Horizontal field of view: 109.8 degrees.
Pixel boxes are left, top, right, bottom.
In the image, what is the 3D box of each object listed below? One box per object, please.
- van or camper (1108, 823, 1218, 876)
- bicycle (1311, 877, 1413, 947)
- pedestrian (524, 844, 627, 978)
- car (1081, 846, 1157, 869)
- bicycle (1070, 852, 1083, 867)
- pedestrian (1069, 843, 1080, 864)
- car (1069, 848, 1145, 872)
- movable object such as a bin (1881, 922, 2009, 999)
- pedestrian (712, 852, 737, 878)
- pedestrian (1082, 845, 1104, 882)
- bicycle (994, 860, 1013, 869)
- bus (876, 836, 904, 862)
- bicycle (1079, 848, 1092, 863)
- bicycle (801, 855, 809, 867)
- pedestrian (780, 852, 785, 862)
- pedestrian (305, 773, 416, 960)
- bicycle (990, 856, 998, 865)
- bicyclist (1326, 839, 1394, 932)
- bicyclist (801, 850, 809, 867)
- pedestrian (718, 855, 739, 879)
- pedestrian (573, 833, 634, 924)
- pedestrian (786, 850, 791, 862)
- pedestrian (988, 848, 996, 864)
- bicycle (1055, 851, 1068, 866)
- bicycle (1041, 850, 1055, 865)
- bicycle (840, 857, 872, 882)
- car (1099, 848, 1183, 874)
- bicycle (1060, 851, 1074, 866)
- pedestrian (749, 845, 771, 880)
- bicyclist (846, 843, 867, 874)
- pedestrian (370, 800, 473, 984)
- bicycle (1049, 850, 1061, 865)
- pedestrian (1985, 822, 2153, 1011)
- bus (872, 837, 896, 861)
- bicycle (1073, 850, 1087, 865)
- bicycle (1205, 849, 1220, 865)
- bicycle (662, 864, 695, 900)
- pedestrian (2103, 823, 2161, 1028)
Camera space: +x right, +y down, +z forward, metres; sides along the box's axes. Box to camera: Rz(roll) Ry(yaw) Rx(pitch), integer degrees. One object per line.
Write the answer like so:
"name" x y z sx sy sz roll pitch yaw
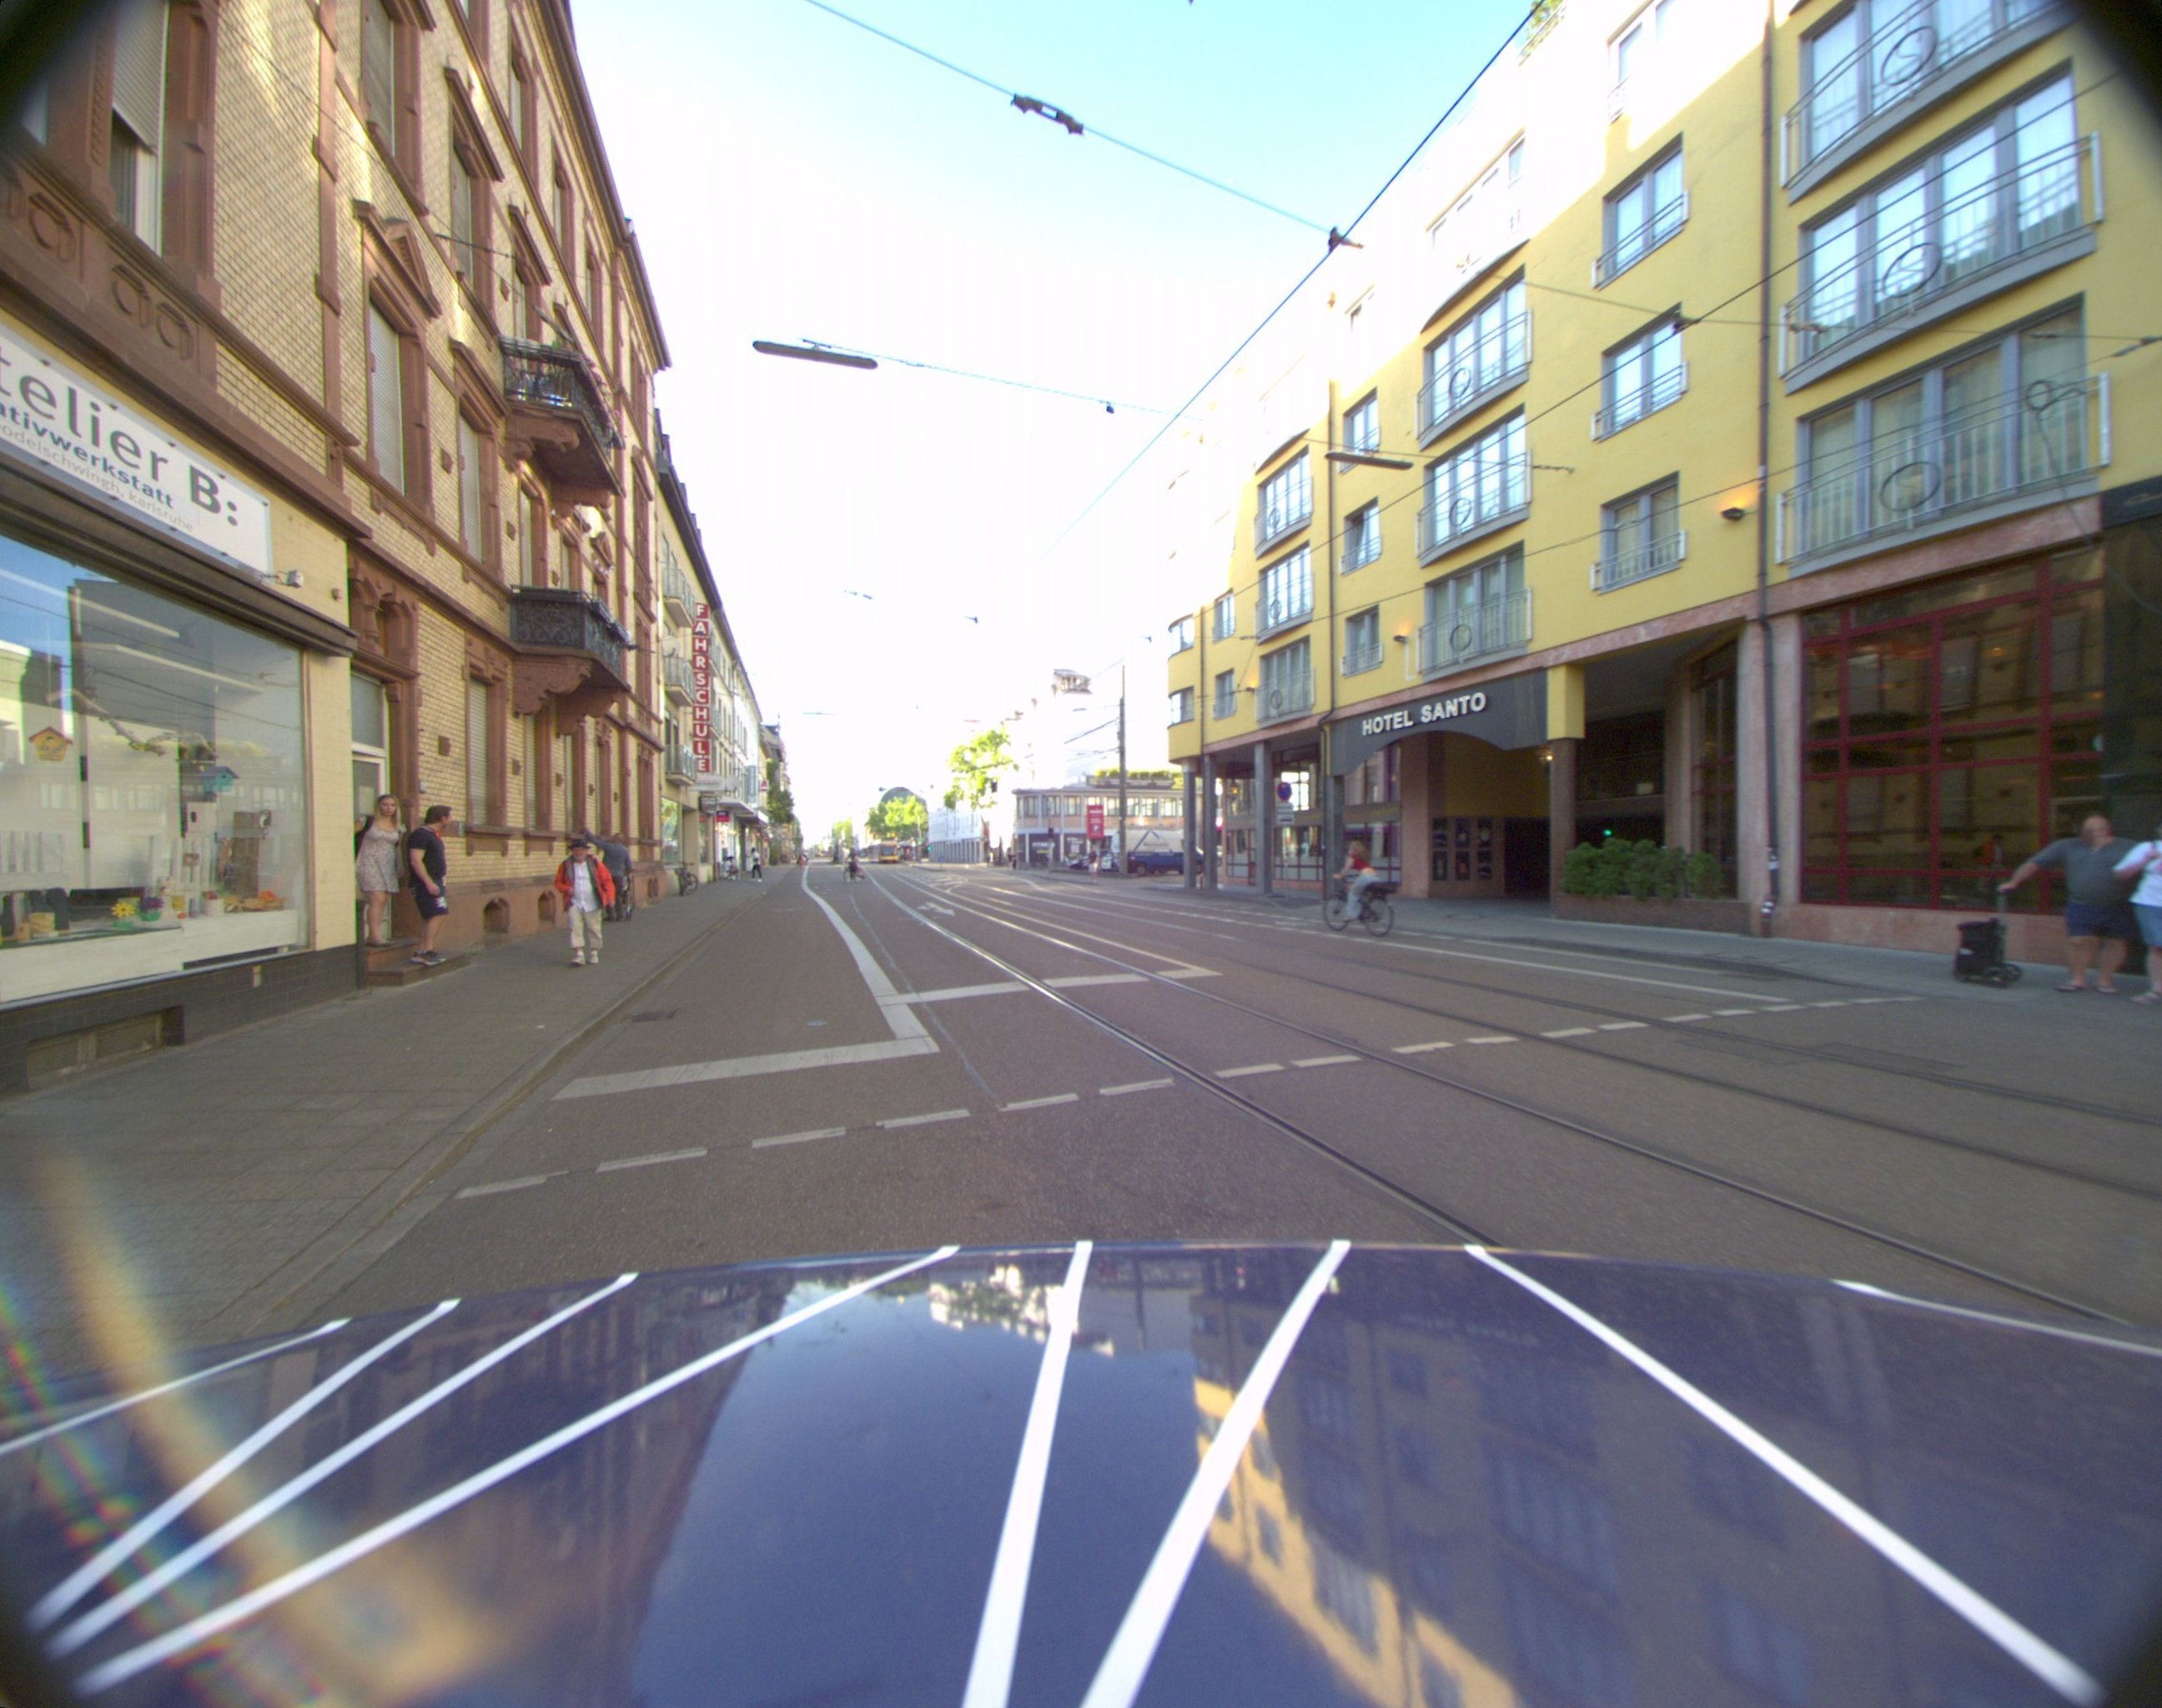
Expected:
"van or camper" 4.588 -0.245 42.631 5.629 2.810 2.311 0 0 -18
"bicycle" 5.092 1.016 13.906 0.699 1.103 1.894 -1 1 -21
"pedestrian" -6.478 0.726 9.797 0.801 1.617 0.824 5 -2 -18
"car" 2.504 0.215 49.786 4.607 1.467 1.876 0 0 -19
"bicycle" -0.357 0.428 61.248 0.450 1.180 1.828 -1 0 -22
"pedestrian" -0.493 -0.033 61.301 0.684 1.687 0.682 -1 0 -21
"car" 1.791 0.392 52.246 4.915 1.574 1.876 0 0 -19
"movable object such as a bin" 9.670 1.173 8.527 0.384 0.712 0.840 -6 2 -18
"pedestrian" -18.396 0.583 39.170 0.705 1.248 0.833 4 -2 36
"pedestrian" 0.583 0.479 38.175 0.837 1.822 0.908 -1 0 -20
"bicycle" -8.061 1.101 79.046 1.852 0.906 0.389 -2 -4 -14
"bus" -27.457 -0.733 108.875 2.823 3.547 13.655 -1 1 -18
"bicycle" 0.350 0.149 61.633 0.450 1.180 1.828 -1 0 -22
"bicycle" -26.707 0.683 73.628 0.684 1.164 1.828 -1 0 -21
"pedestrian" -43.244 0.436 110.117 0.652 1.569 0.681 -1 1 -26
"pedestrian" -7.659 0.143 8.103 0.516 1.894 0.594 5 -2 -18
"bicycle" -9.078 0.641 79.094 0.389 0.907 1.848 -2 1 -18
"bicyclist" 5.095 0.550 13.907 0.704 1.634 0.988 -1 1 -20
"bicyclist" -26.710 0.459 73.569 0.678 1.604 0.836 -2 1 -21
"pedestrian" -18.663 0.669 40.249 0.709 1.167 1.013 6 -2 -38
"pedestrian" -9.802 0.506 15.631 0.809 1.789 0.760 3 -1 -19
"pedestrian" -42.619 0.335 110.675 0.651 1.706 0.805 -1 1 -13
"pedestrian" -9.378 0.217 80.065 0.631 1.706 0.825 0 1 8
"bicycle" -1.571 0.341 61.397 0.450 1.180 1.828 -1 0 -22
"bicycle" -2.641 0.304 61.127 0.447 1.180 1.828 -1 0 -25
"bicycle" -11.824 0.812 39.945 0.681 1.165 1.833 4 4 17
"car" 3.560 0.374 45.075 4.607 1.467 1.876 0 0 -19
"bicycle" -1.150 0.368 61.592 0.445 1.180 1.828 -1 0 -22
"pedestrian" -17.097 0.477 40.481 0.707 1.801 0.679 5 -1 -4
"bicyclist" -11.790 0.244 39.917 0.690 1.541 0.838 4 4 17
"pedestrian" -7.132 0.410 8.247 0.516 1.894 0.594 5 -2 -18
"bicycle" -2.101 0.273 61.209 0.442 1.180 1.828 -1 0 -20
"pedestrian" 10.063 0.597 7.760 0.750 1.761 0.799 -6 2 -17
"bus" -31.624 -0.806 121.458 2.823 3.547 13.655 -1 1 -19
"bicycle" -0.063 0.261 61.617 0.450 1.180 1.828 -1 0 -22
"bicycle" 9.676 0.224 55.920 0.433 1.180 1.829 -1 0 -12
"bicycle" -13.049 0.877 24.659 0.557 1.055 2.307 2 0 -19
"pedestrian" 10.335 0.643 7.030 1.046 1.809 0.752 -6 2 -20
